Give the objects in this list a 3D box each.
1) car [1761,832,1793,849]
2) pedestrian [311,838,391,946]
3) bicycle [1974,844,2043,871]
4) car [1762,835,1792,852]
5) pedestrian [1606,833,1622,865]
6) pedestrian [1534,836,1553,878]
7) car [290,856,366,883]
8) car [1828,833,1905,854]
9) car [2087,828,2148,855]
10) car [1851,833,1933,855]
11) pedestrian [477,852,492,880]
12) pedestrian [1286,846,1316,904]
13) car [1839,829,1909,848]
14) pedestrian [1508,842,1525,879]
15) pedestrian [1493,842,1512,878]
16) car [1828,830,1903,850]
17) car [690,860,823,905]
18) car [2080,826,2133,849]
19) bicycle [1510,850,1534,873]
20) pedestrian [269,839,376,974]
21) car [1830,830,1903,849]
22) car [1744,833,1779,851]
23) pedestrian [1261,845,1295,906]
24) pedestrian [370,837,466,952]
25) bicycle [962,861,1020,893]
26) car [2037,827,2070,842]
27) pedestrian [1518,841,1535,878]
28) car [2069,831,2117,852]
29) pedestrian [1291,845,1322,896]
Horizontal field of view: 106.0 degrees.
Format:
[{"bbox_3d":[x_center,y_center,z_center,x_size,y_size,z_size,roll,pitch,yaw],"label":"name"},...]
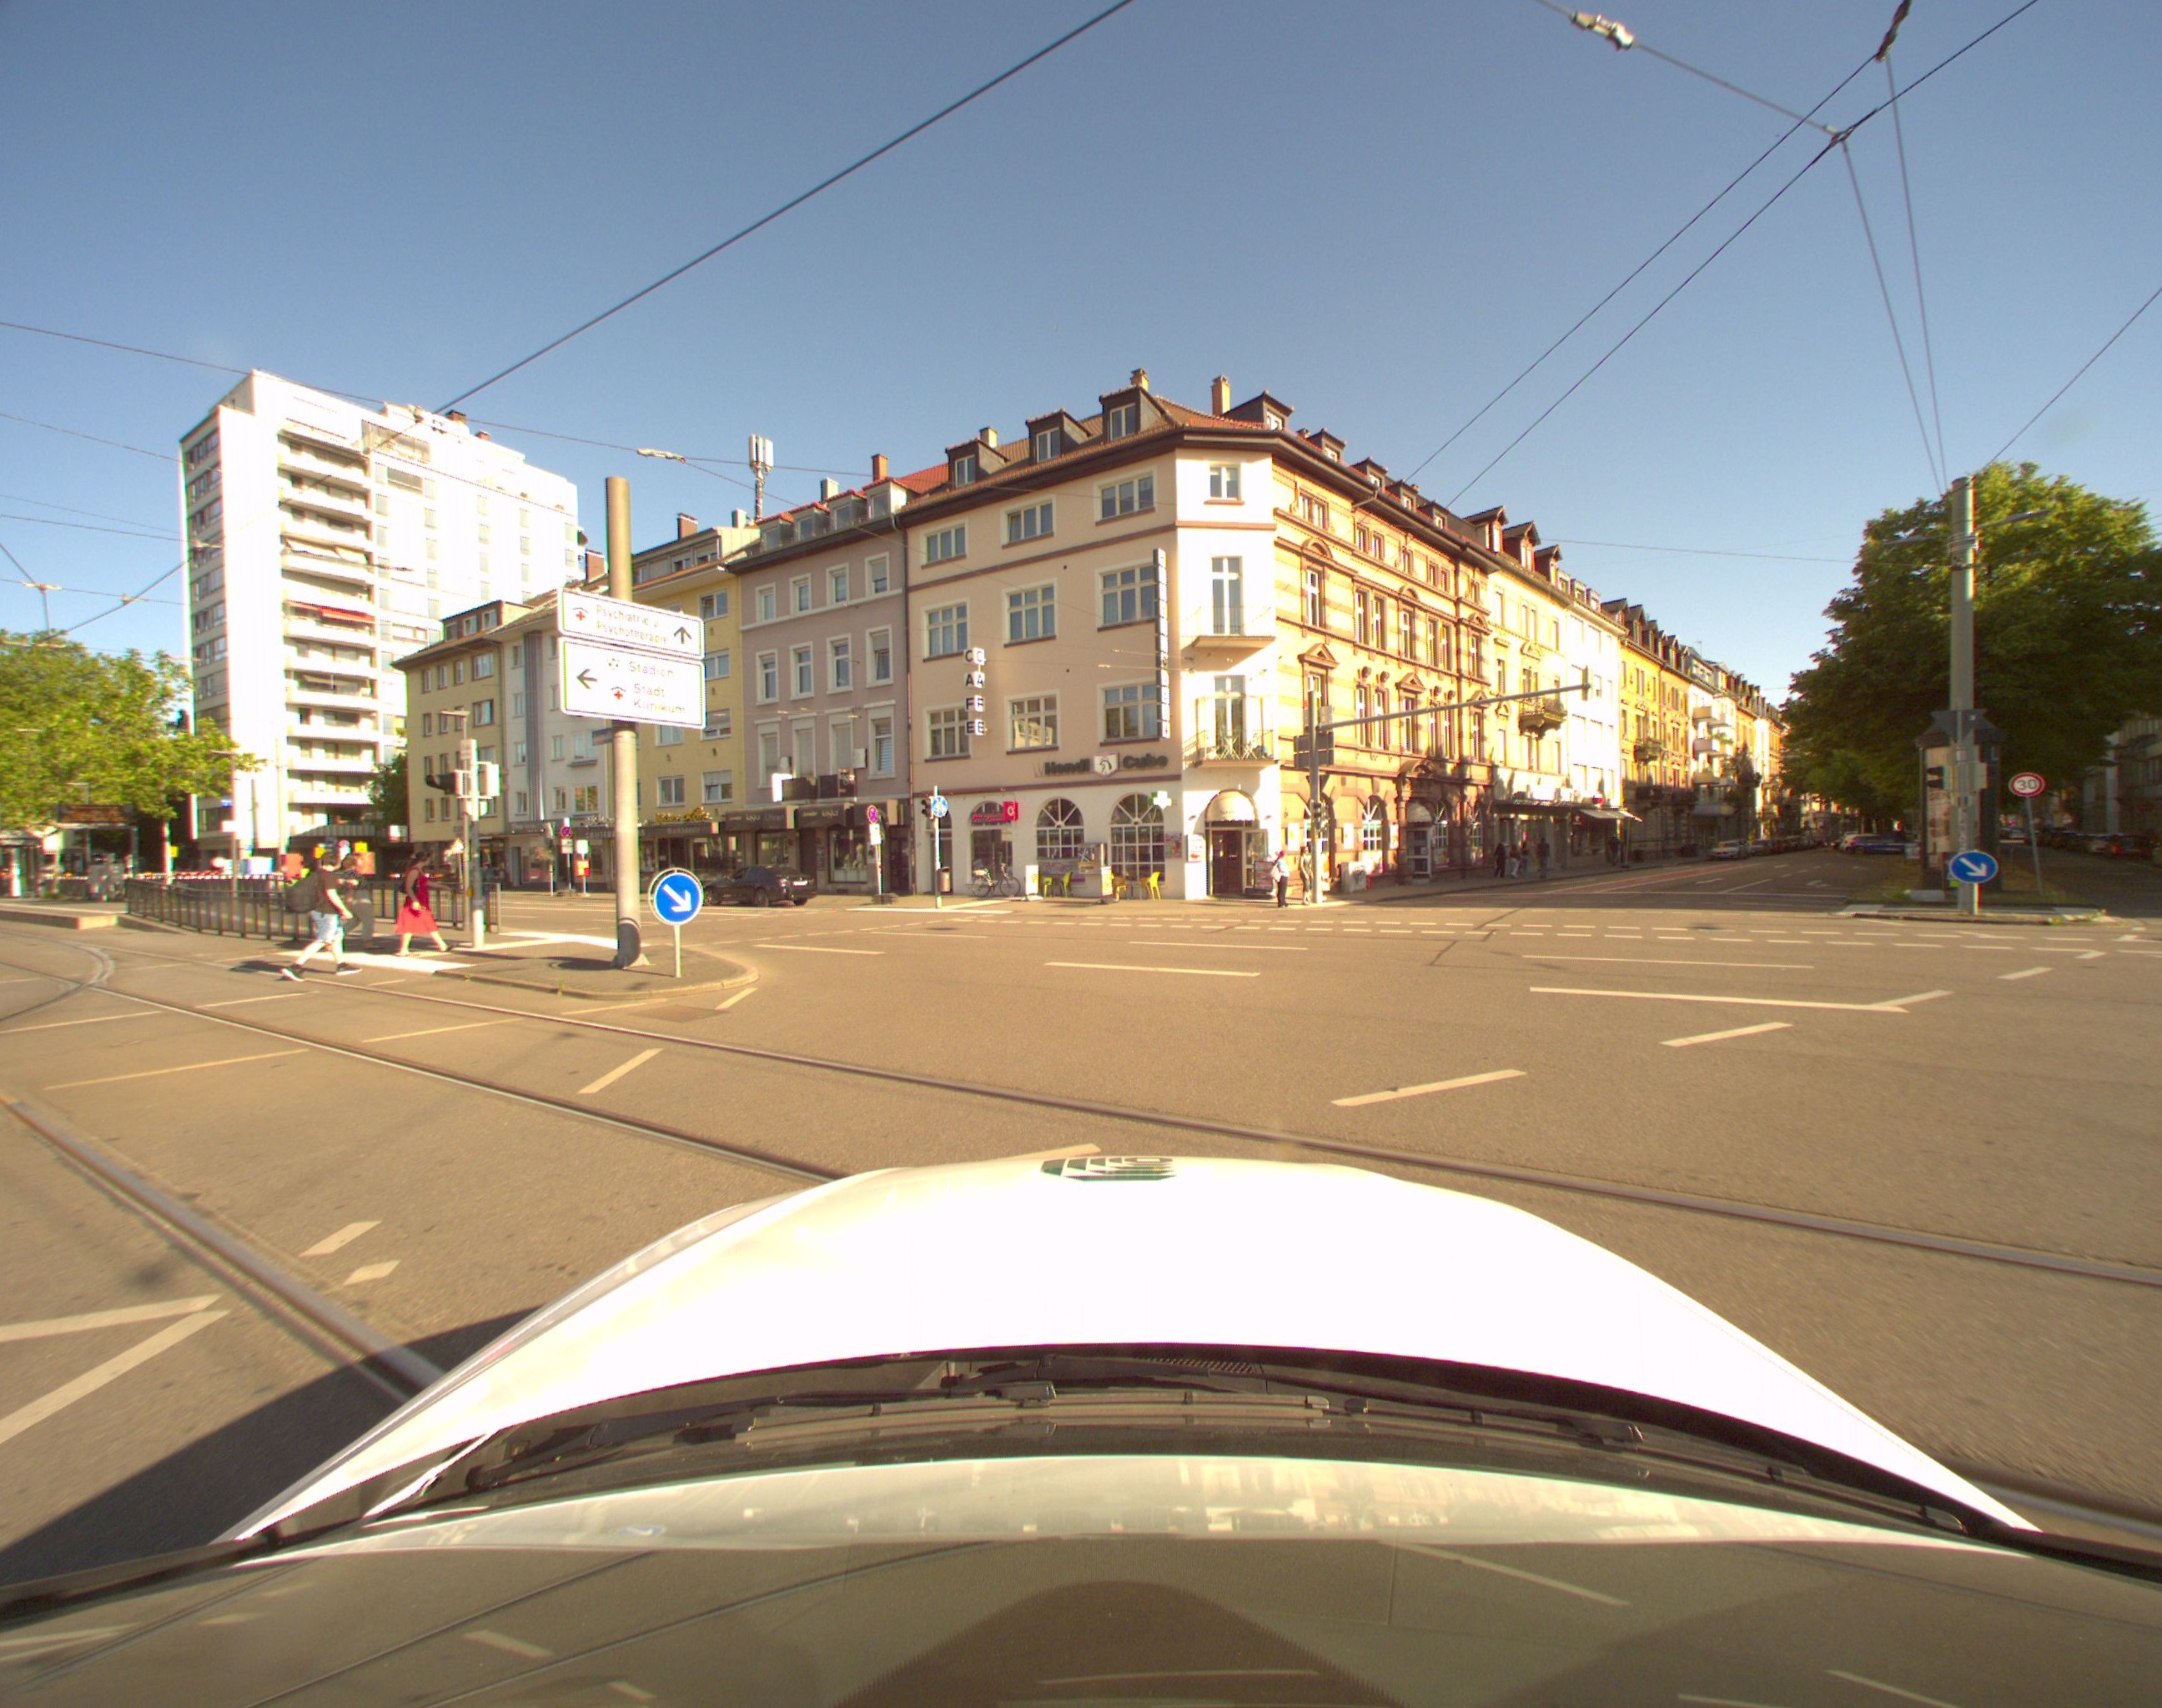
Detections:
[{"bbox_3d":[64.977,-1.248,76.048,1.975,1.497,4.058,0,2,45],"label":"car"},{"bbox_3d":[-12.342,0.615,13.773,0.779,1.733,0.829,0,1,36],"label":"pedestrian"},{"bbox_3d":[38.930,0.150,34.214,0.581,1.067,1.946,-1,1,-6],"label":"bicycle"},{"bbox_3d":[68.191,-1.018,79.770,1.975,1.497,4.058,0,2,45],"label":"car"},{"bbox_3d":[32.047,-0.310,48.946,0.636,1.908,0.676,-2,1,-44],"label":"pedestrian"},{"bbox_3d":[21.009,0.130,36.986,0.636,1.836,0.574,-2,1,-44],"label":"pedestrian"},{"bbox_3d":[-43.211,0.887,46.706,3.949,1.430,1.954,0,1,28],"label":"car"},{"bbox_3d":[61.278,-0.808,63.558,2.007,1.545,3.960,-2,1,-31],"label":"car"},{"bbox_3d":[62.519,-0.781,49.166,4.056,1.497,1.976,-3,2,-42],"label":"car"},{"bbox_3d":[60.027,-0.711,60.344,2.007,1.545,3.960,-2,1,-31],"label":"car"},{"bbox_3d":[-33.661,0.669,45.960,0.460,1.562,0.511,-1,1,33],"label":"pedestrian"},{"bbox_3d":[6.399,0.591,23.682,0.625,1.641,0.556,0,1,44],"label":"pedestrian"},{"bbox_3d":[68.244,-1.348,70.123,2.007,1.545,3.960,-2,1,-31],"label":"car"},{"bbox_3d":[19.686,0.270,36.815,0.545,1.641,0.541,0,1,41],"label":"pedestrian"},{"bbox_3d":[19.218,0.260,37.139,0.621,1.641,0.541,0,1,41],"label":"pedestrian"},{"bbox_3d":[63.193,-1.135,65.667,2.007,1.545,3.960,-2,1,-31],"label":"car"},{"bbox_3d":[-11.461,0.959,28.722,4.596,1.439,1.755,0,1,28],"label":"car"},{"bbox_3d":[69.483,-1.136,55.212,4.056,1.497,1.976,-3,2,-42],"label":"car"},{"bbox_3d":[21.936,0.359,40.475,1.780,1.067,0.490,-3,2,-43],"label":"bicycle"},{"bbox_3d":[-10.212,0.672,10.983,0.646,1.733,0.805,-1,1,20],"label":"pedestrian"},{"bbox_3d":[65.088,-1.197,67.536,2.007,1.545,3.960,-2,1,-31],"label":"car"},{"bbox_3d":[58.083,-1.027,69.443,1.975,1.497,4.058,0,2,45],"label":"car"},{"bbox_3d":[5.423,0.570,22.431,0.669,1.641,0.582,0,1,44],"label":"pedestrian"},{"bbox_3d":[-10.573,0.614,13.009,0.830,1.733,0.911,-1,1,31],"label":"pedestrian"},{"bbox_3d":[-3.143,0.808,28.371,1.926,1.067,0.586,-1,1,20],"label":"bicycle"},{"bbox_3d":[100.382,-2.004,84.082,4.056,1.497,1.976,-3,2,-42],"label":"car"},{"bbox_3d":[20.361,0.258,37.210,0.545,1.641,0.637,0,1,44],"label":"pedestrian"},{"bbox_3d":[74.965,-0.942,60.393,4.056,1.497,1.976,-3,2,-42],"label":"car"},{"bbox_3d":[6.973,0.490,25.191,0.686,1.524,0.664,0,2,44],"label":"pedestrian"}]
